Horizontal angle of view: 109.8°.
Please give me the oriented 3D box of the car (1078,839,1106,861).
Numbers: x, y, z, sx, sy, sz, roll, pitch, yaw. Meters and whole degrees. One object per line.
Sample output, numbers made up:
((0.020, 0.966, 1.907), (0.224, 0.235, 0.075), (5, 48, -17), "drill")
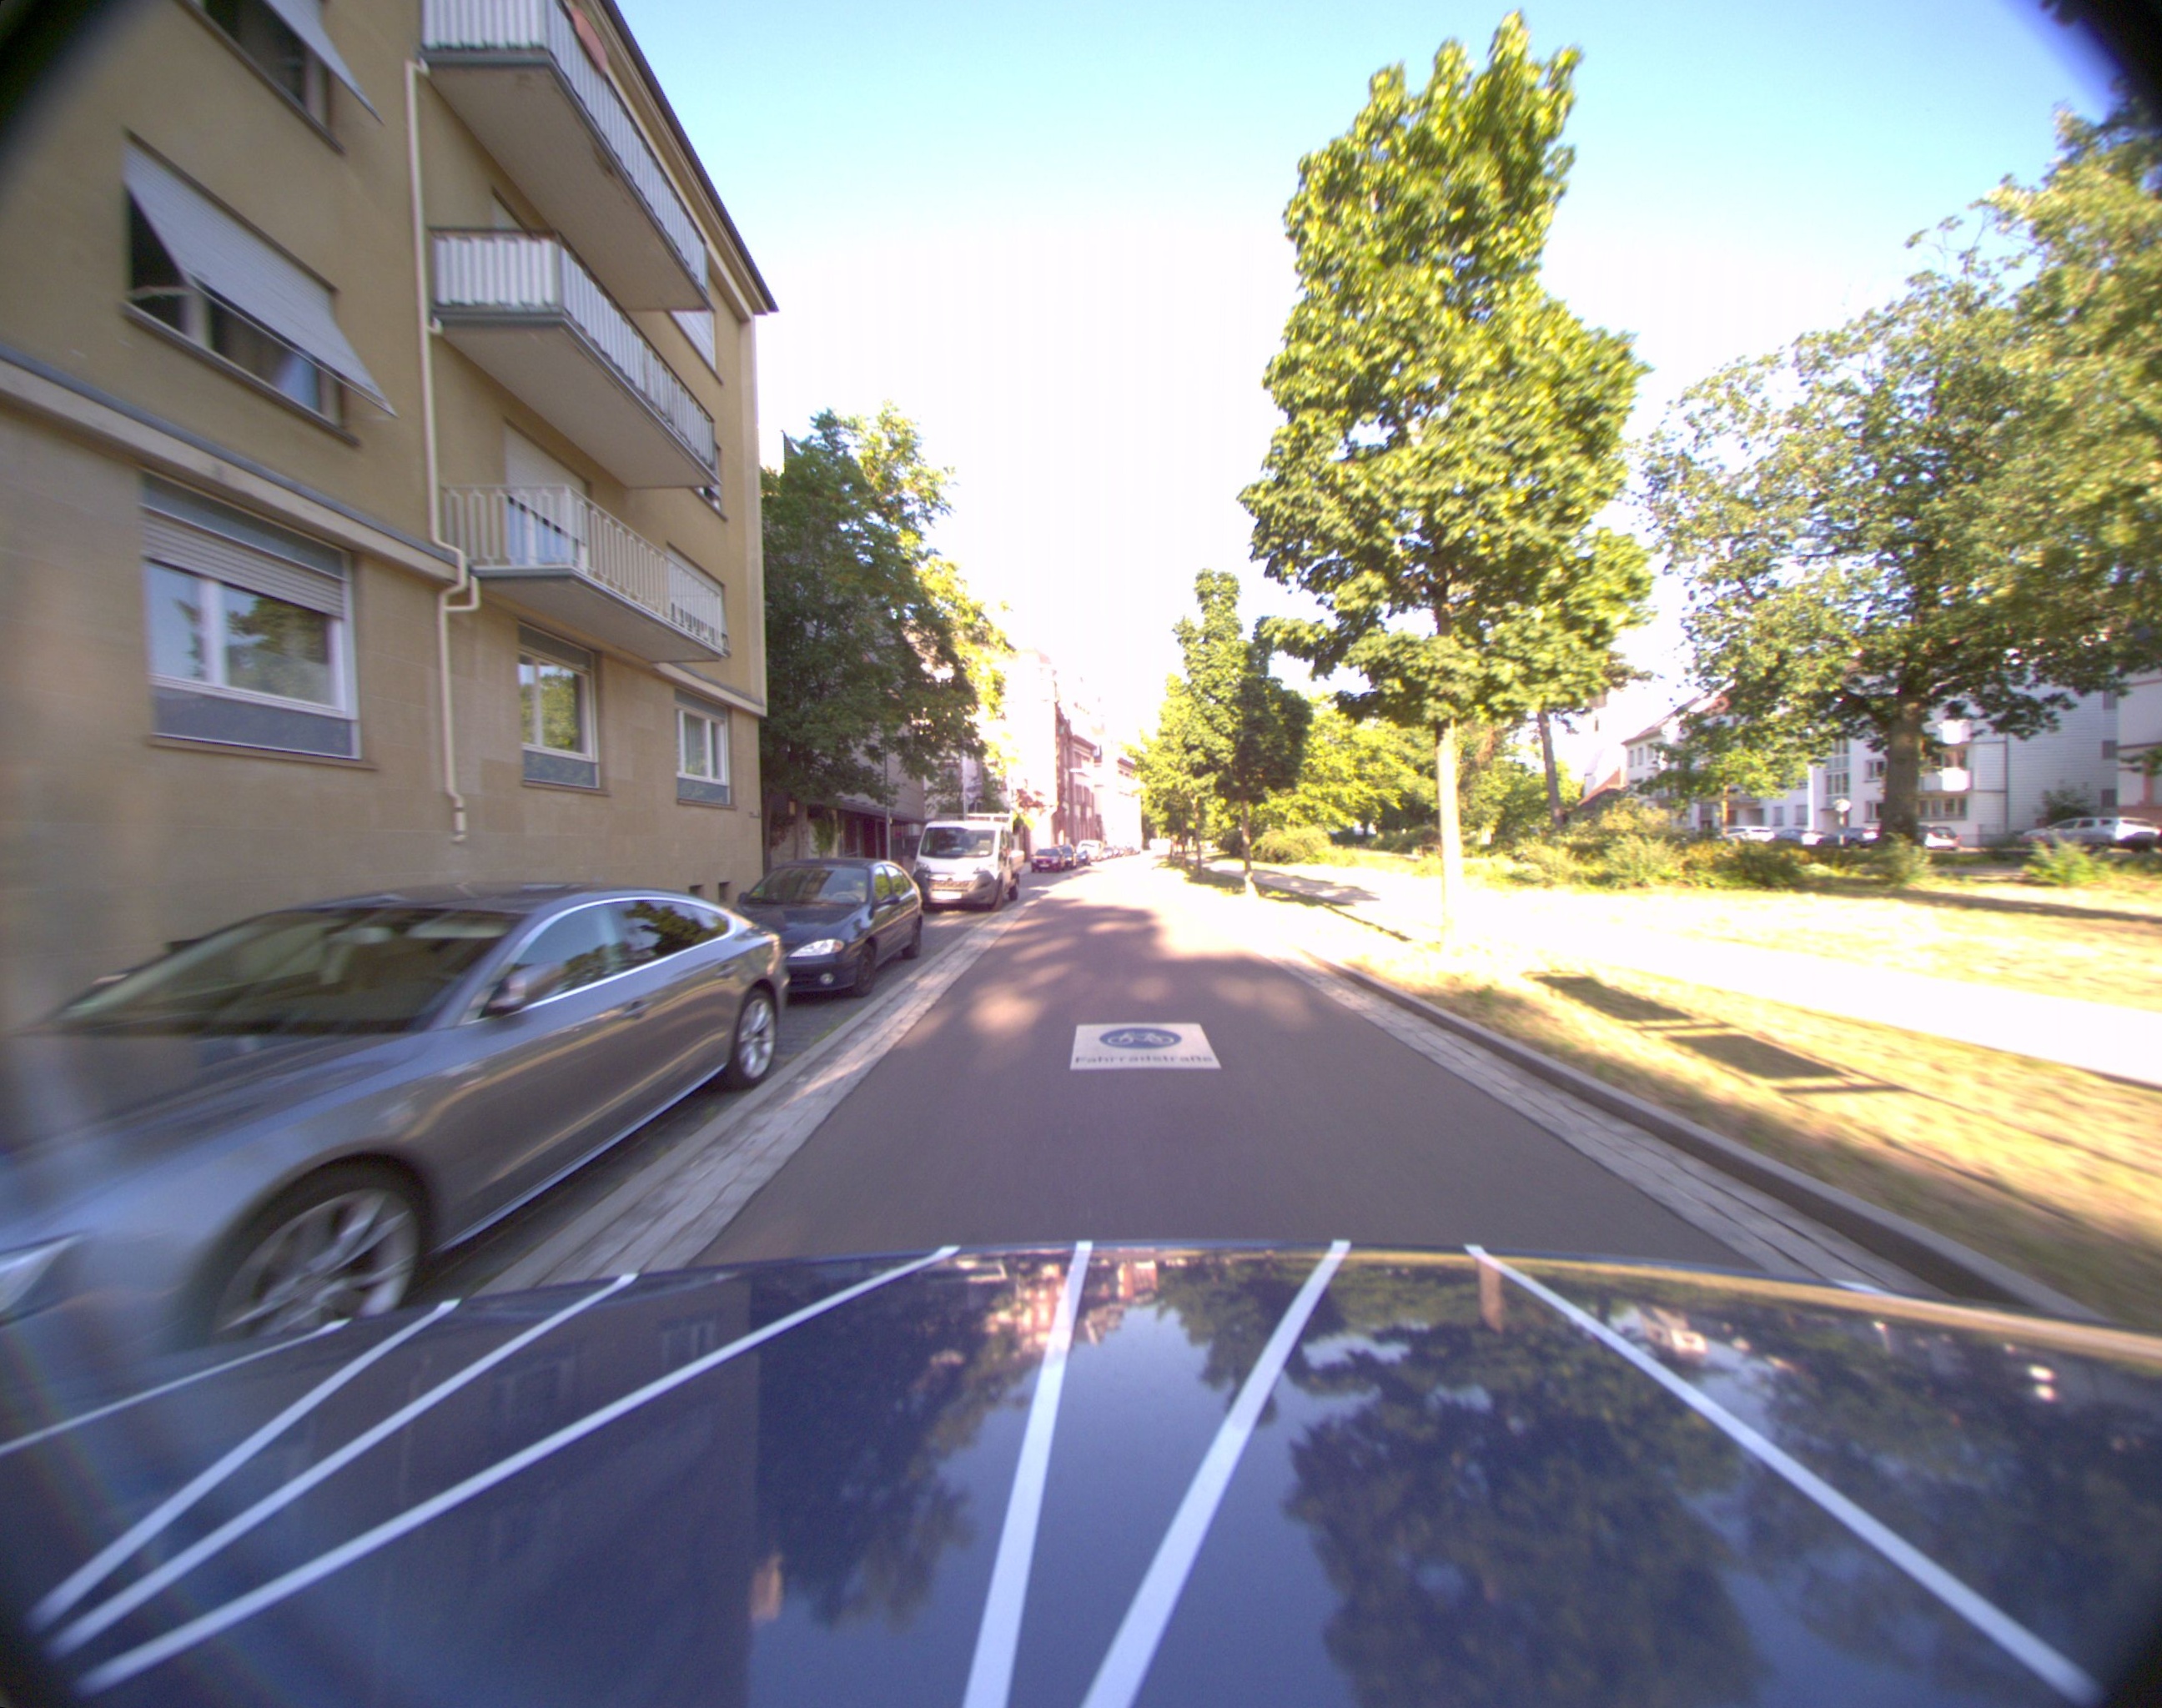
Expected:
((1.079, -0.387, 71.969), (2.118, 1.942, 4.761), (-1, 2, 6), "car")

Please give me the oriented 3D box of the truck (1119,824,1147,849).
((7.475, -2.514, 108.417), (3.018, 3.423, 7.627), (-1, 2, 11), "truck")

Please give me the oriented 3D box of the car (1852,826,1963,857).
((47.479, -0.743, 43.800), (1.888, 1.565, 4.600), (-1, 3, 10), "car")

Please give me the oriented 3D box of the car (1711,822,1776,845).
((50.492, -1.580, 58.038), (1.887, 1.565, 4.601), (-1, 3, 14), "car")

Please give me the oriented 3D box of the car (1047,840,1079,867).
((-1.102, -0.039, 49.191), (1.610, 1.609, 3.951), (-1, 2, 5), "car")

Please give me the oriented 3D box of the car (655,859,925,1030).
((-3.064, 0.842, 8.948), (1.707, 1.412, 4.034), (1, 2, -1), "car")

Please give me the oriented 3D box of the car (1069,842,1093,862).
((0.025, -0.193, 59.519), (1.509, 1.438, 3.730), (-1, 2, 5), "car")

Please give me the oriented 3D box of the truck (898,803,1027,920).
((-2.872, 0.076, 20.260), (2.133, 2.550, 6.875), (-1, 2, 1), "truck")

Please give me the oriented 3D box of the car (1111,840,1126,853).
((4.558, -0.901, 91.927), (1.582, 1.499, 3.847), (-1, 2, 6), "car")

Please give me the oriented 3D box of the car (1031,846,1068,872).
((-1.775, 0.250, 43.712), (1.610, 1.350, 3.548), (-1, 2, 5), "car")

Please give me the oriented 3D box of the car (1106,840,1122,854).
((3.748, -0.856, 86.898), (1.582, 1.499, 3.847), (-1, 2, 6), "car")

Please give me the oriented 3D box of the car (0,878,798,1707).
((-2.969, 0.956, 3.371), (1.707, 1.412, 4.347), (1, 2, 2), "car")

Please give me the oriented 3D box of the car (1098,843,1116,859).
((2.787, -0.340, 81.079), (1.582, 1.499, 3.847), (-1, 2, 6), "car")

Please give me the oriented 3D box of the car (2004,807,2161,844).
((45.591, -1.324, 34.477), (1.889, 1.565, 4.597), (-1, 3, 3), "car")
